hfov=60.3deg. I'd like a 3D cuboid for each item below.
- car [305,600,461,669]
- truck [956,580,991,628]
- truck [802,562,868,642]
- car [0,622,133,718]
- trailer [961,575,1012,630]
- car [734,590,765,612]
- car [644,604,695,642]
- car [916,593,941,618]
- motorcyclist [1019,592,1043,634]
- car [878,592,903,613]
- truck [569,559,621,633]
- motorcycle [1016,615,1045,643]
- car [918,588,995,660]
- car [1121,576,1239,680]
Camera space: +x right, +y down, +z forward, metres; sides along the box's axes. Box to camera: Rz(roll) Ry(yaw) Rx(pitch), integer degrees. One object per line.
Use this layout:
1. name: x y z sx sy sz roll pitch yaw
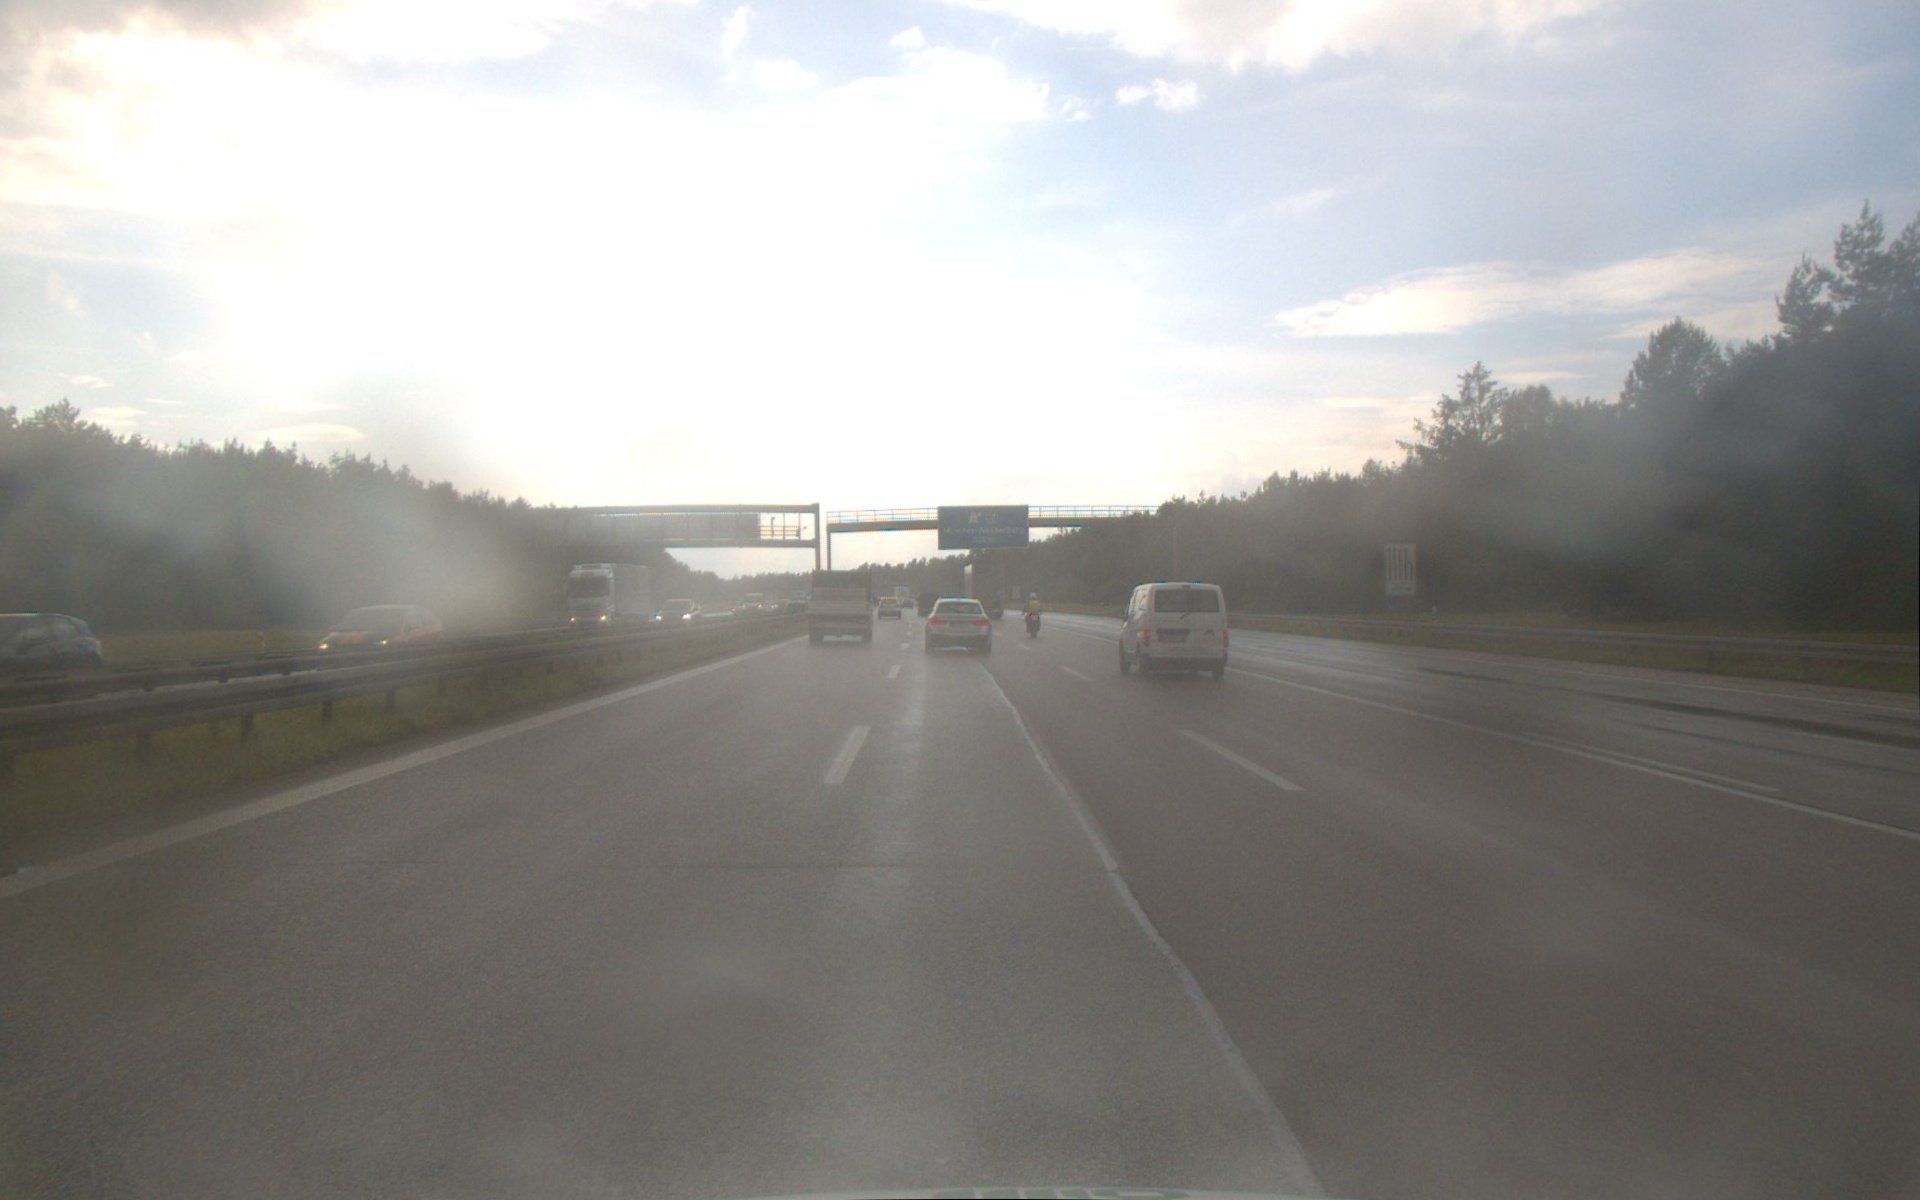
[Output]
1. car: -12.653 0.716 36.565 1.877 1.388 4.651 -1 0 -1
2. truck: 1.088 0.323 137.291 2.250 3.936 5.384 0 0 -7
3. truck: -4.160 0.065 54.969 2.095 2.533 5.308 0 0 -4
4. car: -16.628 1.192 29.091 1.877 1.481 4.651 -1 0 -1
5. trailer: 1.995 0.238 129.936 2.279 4.072 13.391 0 0 -7
6. car: -20.647 0.086 162.618 2.237 2.049 6.738 0 0 0
7. car: -13.596 1.050 77.511 1.822 1.691 4.469 0 0 -3
8. car: -2.637 0.465 138.330 1.870 2.049 3.997 0 0 -4
9. motorcyclist: 2.777 0.514 65.022 0.873 1.643 0.958 0 0 -3
10. car: -5.107 0.214 121.075 1.794 1.492 3.998 0 0 -3
11. truck: -22.053 -0.234 100.110 2.096 4.312 4.706 1 0 -1
12. motorcycle: 2.762 1.129 65.157 0.980 1.049 2.173 0 0 -3
13. car: -0.077 0.651 46.574 2.035 1.918 5.011 1 0 0
14. car: 4.393 0.522 33.679 1.923 1.935 4.883 1 0 2
